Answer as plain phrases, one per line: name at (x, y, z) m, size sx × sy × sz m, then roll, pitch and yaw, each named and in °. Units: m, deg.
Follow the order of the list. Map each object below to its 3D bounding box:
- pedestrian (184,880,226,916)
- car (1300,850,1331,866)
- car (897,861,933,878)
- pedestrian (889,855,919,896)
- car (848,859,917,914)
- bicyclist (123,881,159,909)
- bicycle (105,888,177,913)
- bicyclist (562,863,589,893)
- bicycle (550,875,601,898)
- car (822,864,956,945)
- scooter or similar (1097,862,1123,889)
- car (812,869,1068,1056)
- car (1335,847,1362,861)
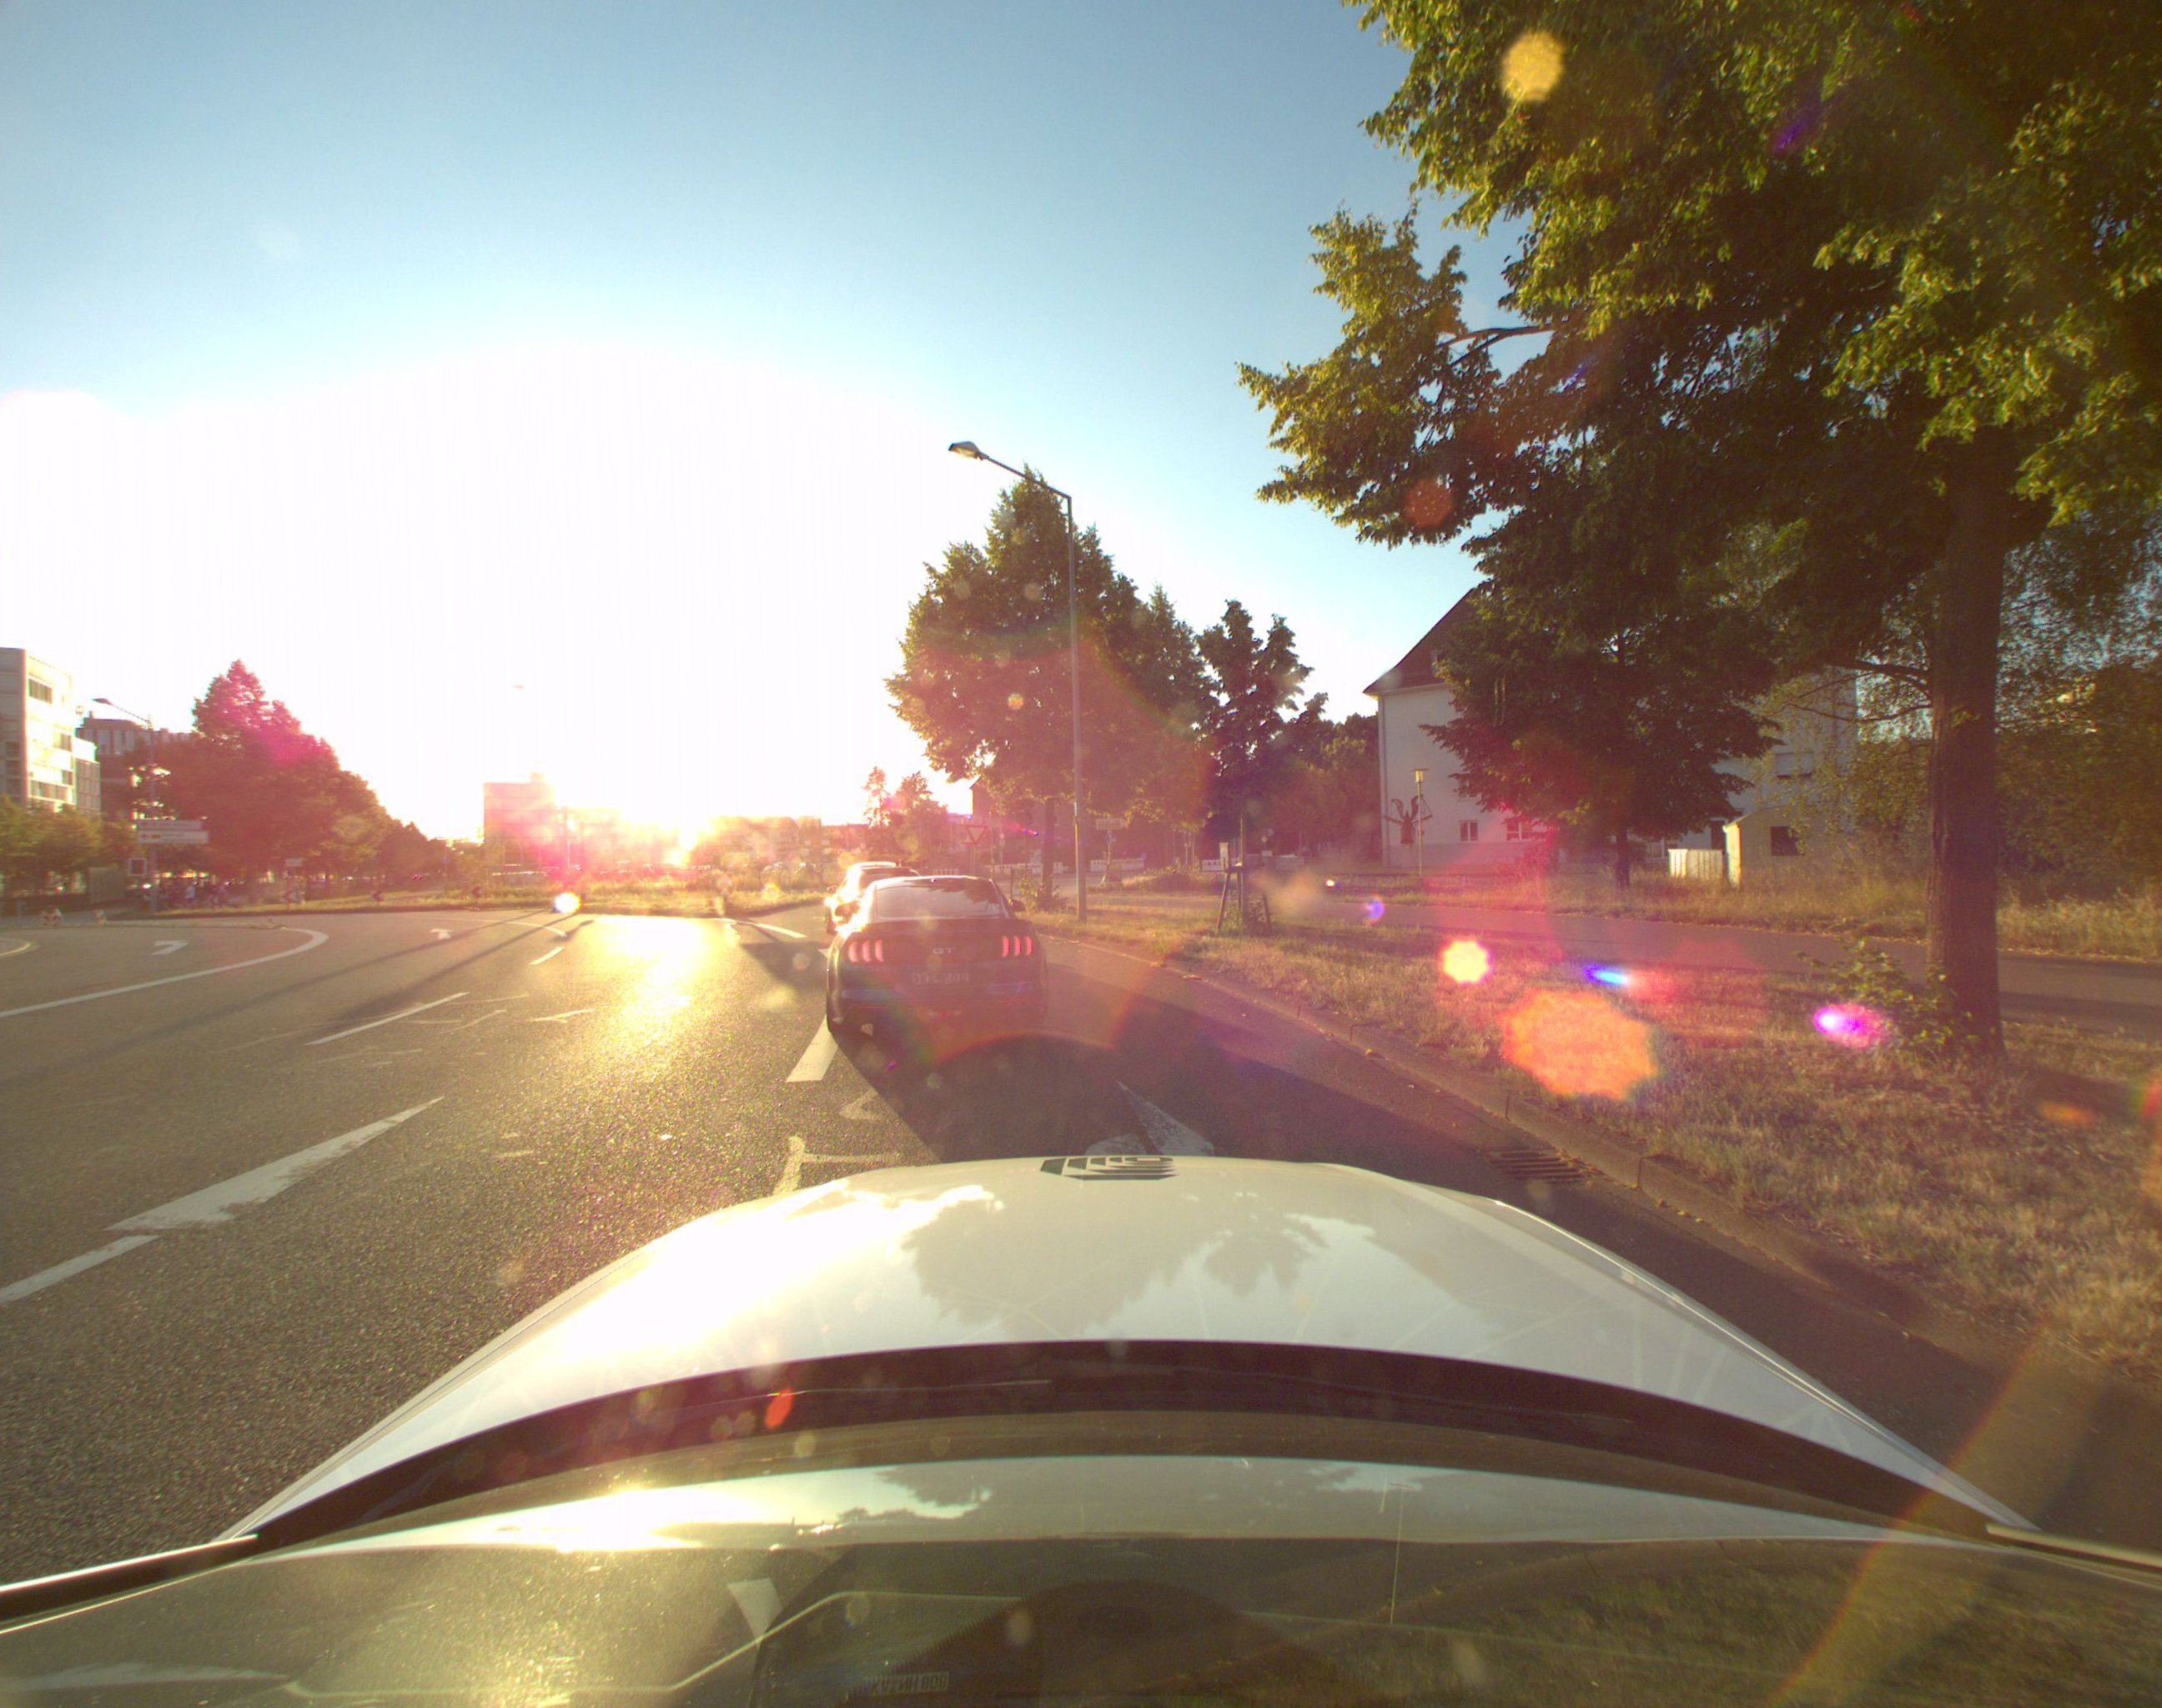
pedestrian at (-47.241, 2.372, 43.952) m, size 1.160 × 1.827 × 0.975 m, roll -2°, pitch -1°, yaw -15°
car at (24.770, 0.390, 86.011) m, size 1.932 × 1.602 × 4.103 m, roll -1°, pitch 0°, yaw 35°
car at (-16.951, 1.598, 82.965) m, size 2.010 × 1.706 × 3.954 m, roll -1°, pitch -1°, yaw -38°
pedestrian at (-7.417, 0.890, 34.092) m, size 0.851 × 1.686 × 0.876 m, roll -1°, pitch 0°, yaw -43°
car at (-6.507, 1.070, 27.041) m, size 1.952 × 1.602 × 4.061 m, roll 3°, pitch -2°, yaw -11°
bicyclist at (-49.724, 2.177, 43.100) m, size 0.978 × 1.394 × 0.749 m, roll -2°, pitch -1°, yaw -19°
bicycle at (-49.735, 2.445, 43.111) m, size 2.409 × 1.167 × 0.749 m, roll -2°, pitch -1°, yaw -20°
bicyclist at (-28.196, 1.334, 45.418) m, size 0.970 × 1.612 × 0.756 m, roll -2°, pitch -1°, yaw 6°
bicycle at (-28.201, 1.802, 45.429) m, size 2.389 × 1.167 × 0.756 m, roll -2°, pitch -1°, yaw 6°
car at (-4.057, 0.941, 16.666) m, size 1.960 × 1.427 × 4.395 m, roll 1°, pitch -2°, yaw -23°
scooter or similar at (1.354, 1.008, 38.412) m, size 1.123 × 1.238 × 0.440 m, roll -1°, pitch 0°, yaw -18°
car at (-1.545, 0.860, 8.628) m, size 1.953 × 1.342 × 4.651 m, roll -1°, pitch -1°, yaw -12°
car at (31.819, -0.005, 96.977) m, size 1.932 × 1.602 × 4.103 m, roll -1°, pitch 0°, yaw 35°
